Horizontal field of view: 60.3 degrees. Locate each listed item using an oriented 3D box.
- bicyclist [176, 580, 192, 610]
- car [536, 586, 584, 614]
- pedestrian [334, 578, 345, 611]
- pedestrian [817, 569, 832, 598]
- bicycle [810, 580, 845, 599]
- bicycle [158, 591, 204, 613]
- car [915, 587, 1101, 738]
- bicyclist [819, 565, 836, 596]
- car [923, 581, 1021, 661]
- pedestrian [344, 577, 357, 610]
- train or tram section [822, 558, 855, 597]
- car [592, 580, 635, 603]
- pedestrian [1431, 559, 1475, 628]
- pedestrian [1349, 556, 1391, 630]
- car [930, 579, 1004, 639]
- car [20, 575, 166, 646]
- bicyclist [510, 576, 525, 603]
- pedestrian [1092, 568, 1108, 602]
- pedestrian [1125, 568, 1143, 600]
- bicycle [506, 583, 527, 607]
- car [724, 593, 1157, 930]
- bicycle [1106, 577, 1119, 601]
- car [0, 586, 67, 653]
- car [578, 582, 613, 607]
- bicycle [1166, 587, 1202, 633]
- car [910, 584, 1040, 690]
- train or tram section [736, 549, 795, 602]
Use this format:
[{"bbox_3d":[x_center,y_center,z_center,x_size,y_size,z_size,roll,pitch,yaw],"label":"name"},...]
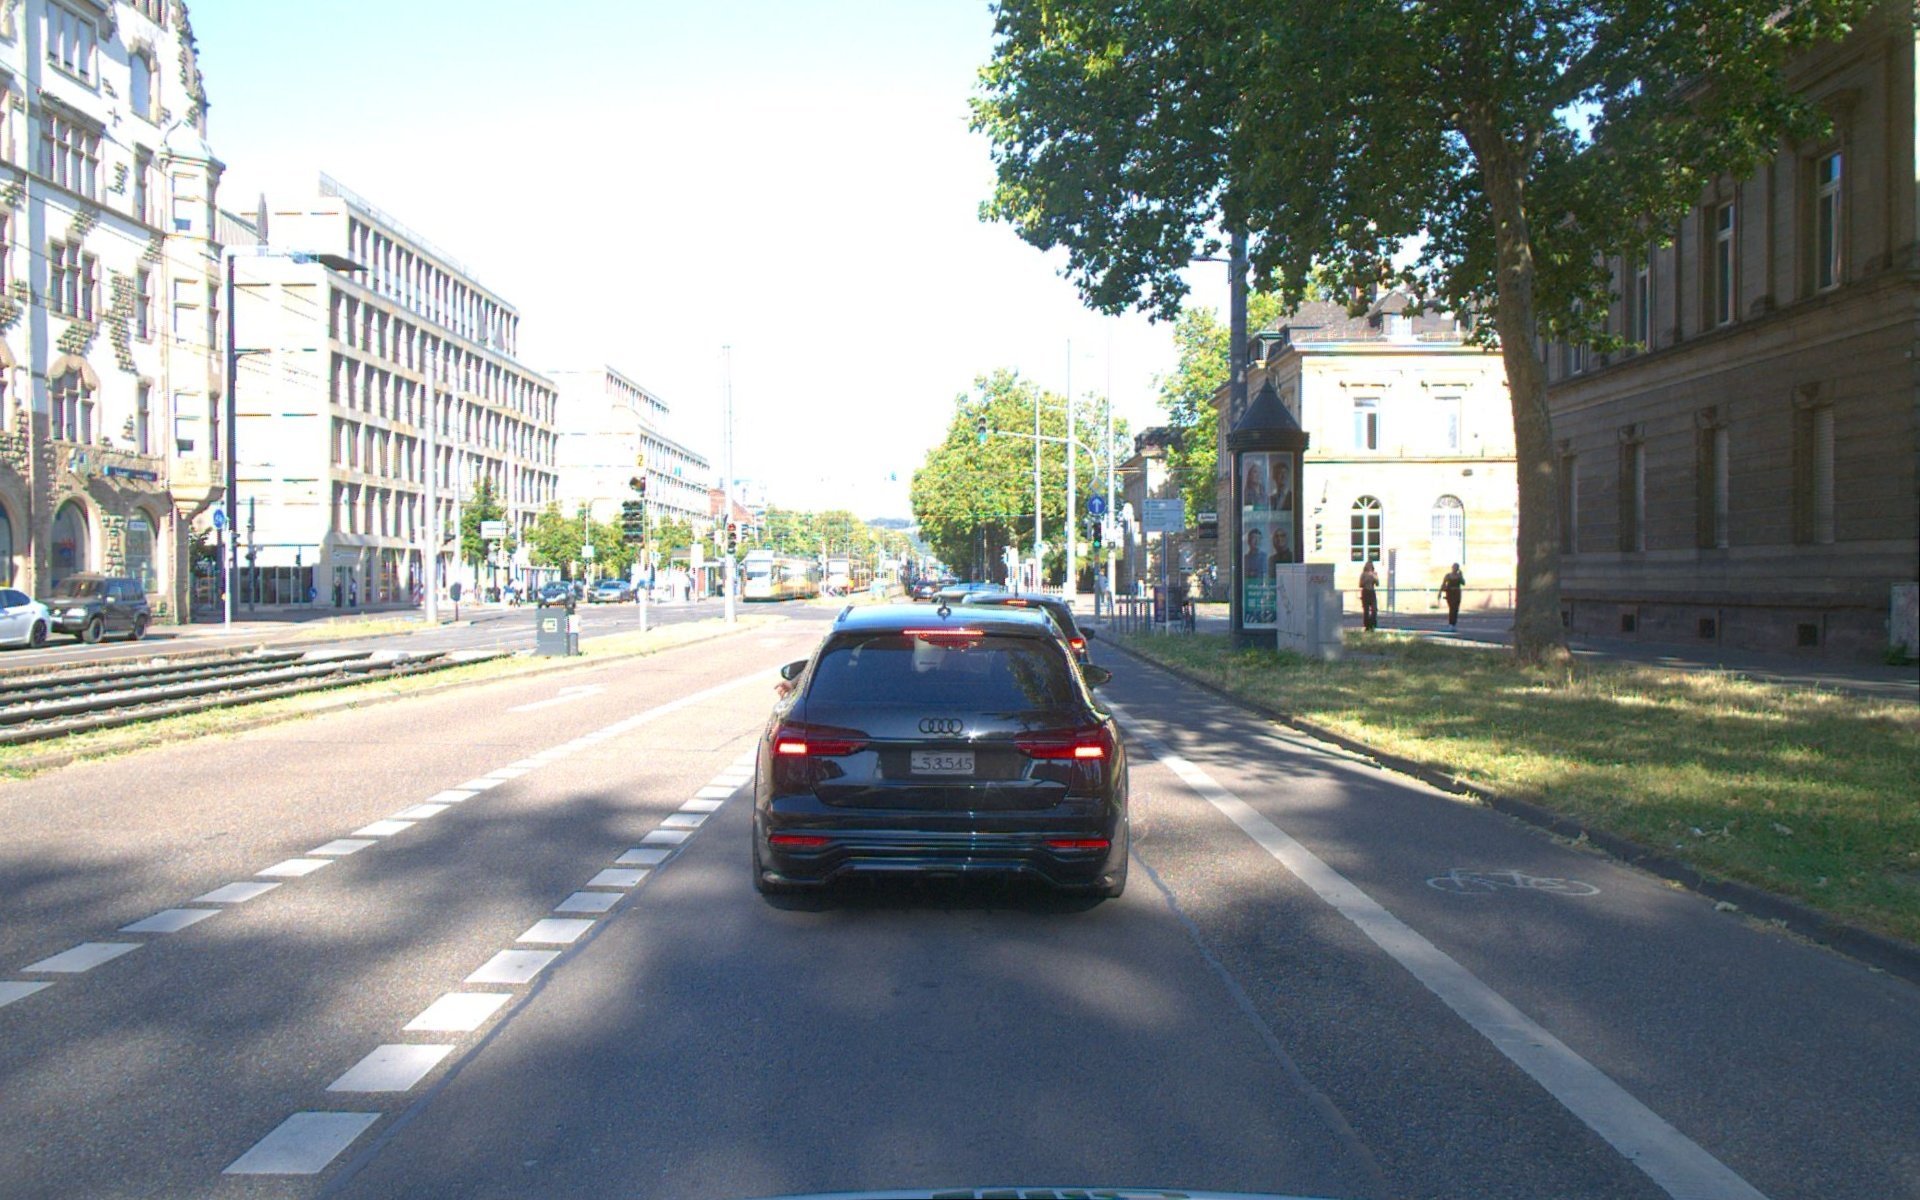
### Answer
[{"bbox_3d":[-44.301,-0.289,94.419,0.628,1.715,0.577,-1,0,-1],"label":"bicyclist"},{"bbox_3d":[-22.222,-0.023,91.993,1.783,1.482,4.164,-1,1,-3],"label":"car"},{"bbox_3d":[-35.327,-0.335,94.147,0.469,1.875,0.437,-1,0,-39],"label":"pedestrian"},{"bbox_3d":[-8.266,-0.996,100.962,0.730,1.772,0.658,-1,1,-24],"label":"pedestrian"},{"bbox_3d":[-7.955,-0.654,99.472,1.984,1.127,0.757,-1,1,-29],"label":"bicycle"},{"bbox_3d":[-44.470,0.116,94.415,2.333,1.236,0.577,-1,0,-1],"label":"bicycle"},{"bbox_3d":[0.486,0.630,18.824,1.864,1.512,4.144,1,0,0],"label":"car"},{"bbox_3d":[-7.957,-1.178,99.477,0.748,1.850,0.757,-1,1,-29],"label":"bicyclist"},{"bbox_3d":[0.228,0.401,33.795,1.864,1.512,4.144,1,0,0],"label":"car"},{"bbox_3d":[-34.777,-0.347,94.370,0.527,1.875,0.437,-1,0,-39],"label":"pedestrian"},{"bbox_3d":[-11.143,-2.076,152.228,2.556,3.511,11.128,-1,1,-2],"label":"train or tram section"},{"bbox_3d":[-23.088,-0.597,110.265,1.782,1.482,4.541,-1,1,1],"label":"car"},{"bbox_3d":[11.855,-0.157,39.798,0.753,1.634,0.986,-1,0,1],"label":"pedestrian"},{"bbox_3d":[9.902,-0.175,40.012,0.753,1.739,1.042,-1,0,1],"label":"pedestrian"},{"bbox_3d":[0.179,0.216,44.271,1.864,1.512,4.144,1,0,0],"label":"car"},{"bbox_3d":[-22.562,0.227,43.208,1.682,1.704,4.215,2,1,-2],"label":"car"},{"bbox_3d":[-26.299,-0.610,98.360,0.671,1.590,0.785,-1,0,1],"label":"bicyclist"},{"bbox_3d":[6.893,-0.749,81.462,0.668,1.689,0.758,-1,1,-2],"label":"pedestrian"},{"bbox_3d":[10.484,-0.977,99.619,0.959,1.898,0.826,-1,1,-1],"label":"pedestrian"},{"bbox_3d":[-26.362,-0.281,98.374,0.671,1.406,1.947,-1,1,1],"label":"bicycle"},{"bbox_3d":[-0.086,0.694,9.248,1.864,1.446,4.144,1,0,0],"label":"car"},{"bbox_3d":[7.506,-0.529,81.414,0.426,1.165,1.340,-1,1,-2],"label":"bicycle"},{"bbox_3d":[-22.509,0.443,37.875,1.682,1.448,4.654,2,1,-2],"label":"car"},{"bbox_3d":[-27.705,-0.417,125.780,1.804,1.844,4.112,-1,1,-1],"label":"car"},{"bbox_3d":[5.473,0.226,40.509,0.529,1.080,1.770,-1,1,-4],"label":"bicycle"},{"bbox_3d":[0.218,0.534,26.121,1.864,1.512,4.144,1,0,0],"label":"car"},{"bbox_3d":[-13.793,-1.744,118.337,2.755,3.550,13.203,-1,1,-1],"label":"train or tram section"}]
